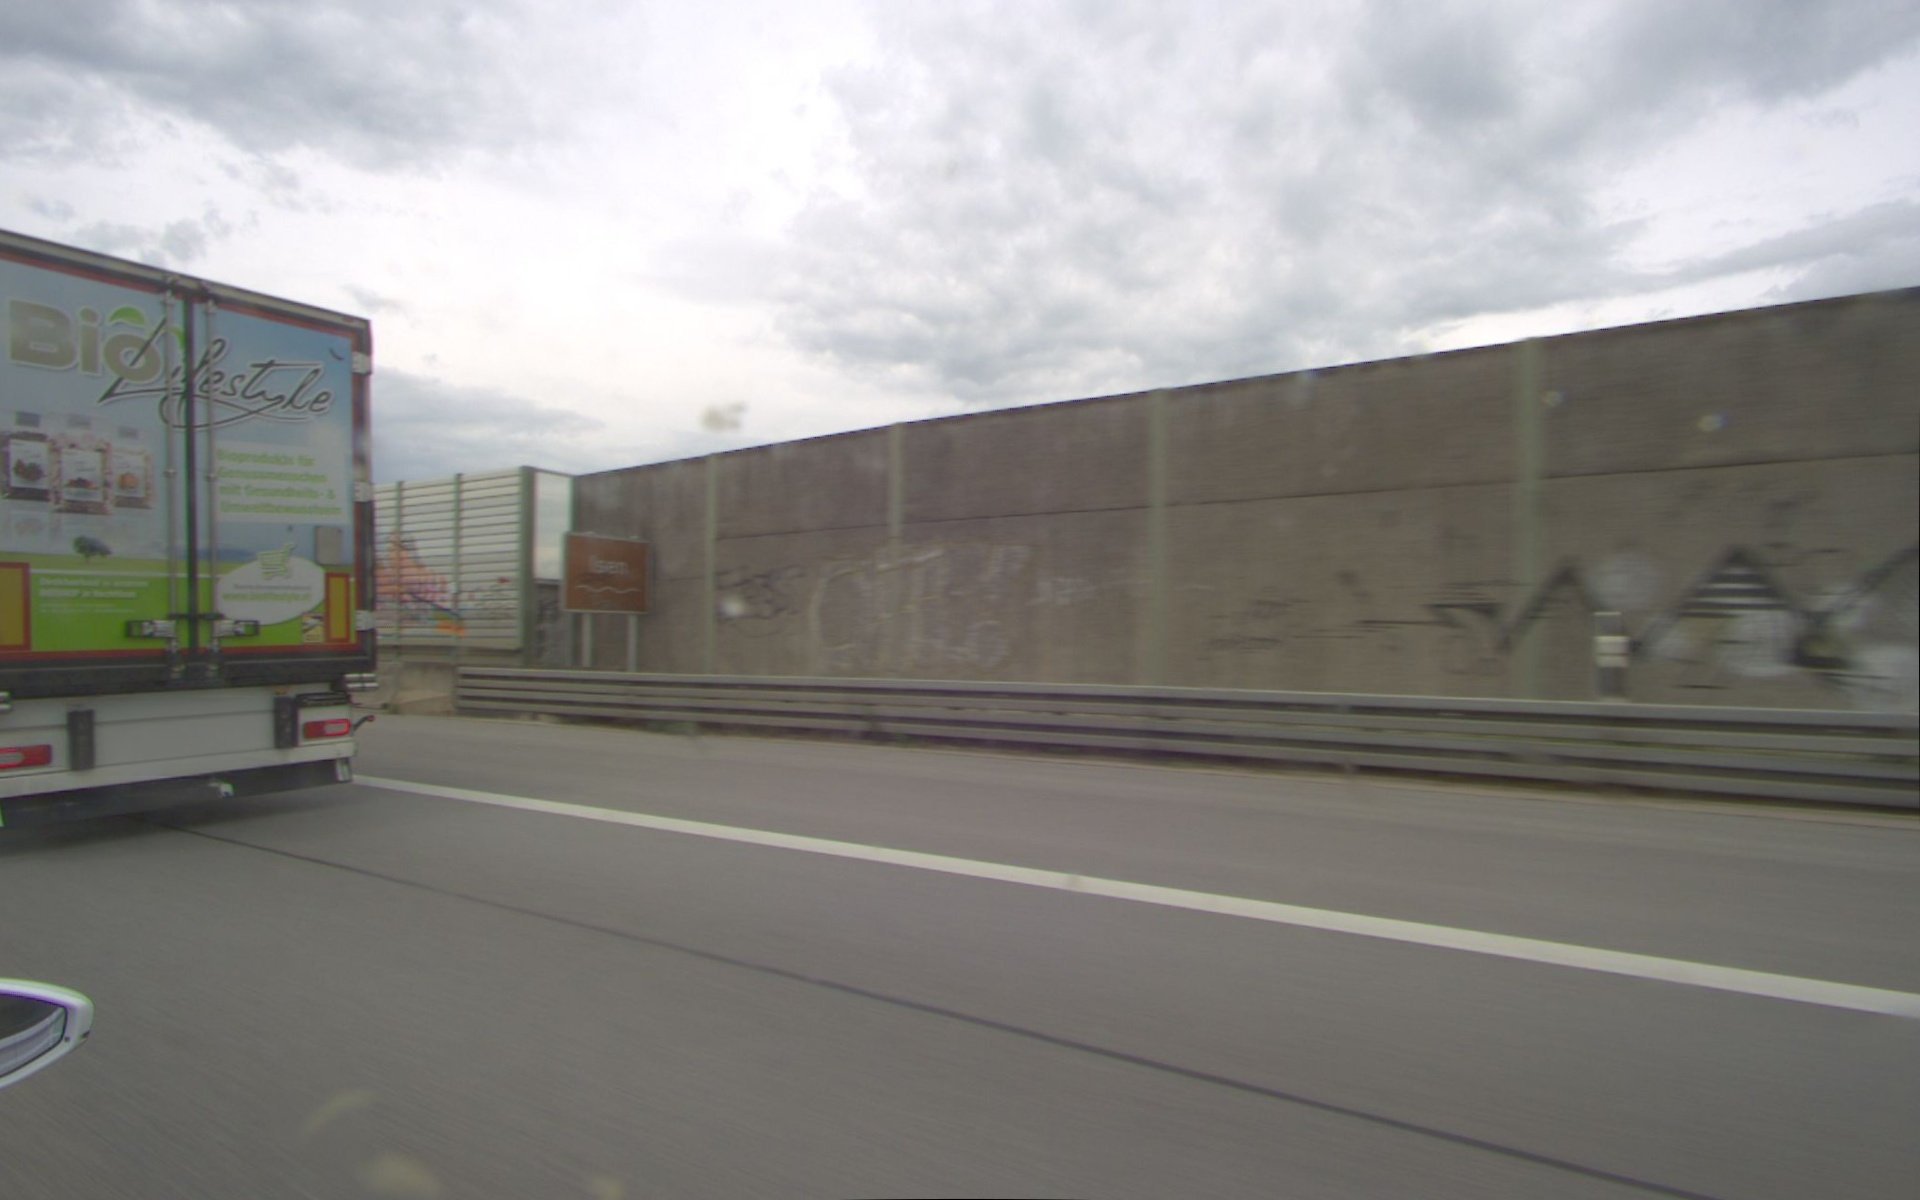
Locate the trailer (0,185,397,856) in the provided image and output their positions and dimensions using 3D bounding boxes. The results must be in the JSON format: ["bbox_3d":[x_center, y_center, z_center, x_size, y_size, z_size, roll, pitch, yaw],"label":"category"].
[{"bbox_3d":[-11.341,-0.381,10.971,13.901,4.229,2.787,-1,-1,32],"label":"trailer"}]
